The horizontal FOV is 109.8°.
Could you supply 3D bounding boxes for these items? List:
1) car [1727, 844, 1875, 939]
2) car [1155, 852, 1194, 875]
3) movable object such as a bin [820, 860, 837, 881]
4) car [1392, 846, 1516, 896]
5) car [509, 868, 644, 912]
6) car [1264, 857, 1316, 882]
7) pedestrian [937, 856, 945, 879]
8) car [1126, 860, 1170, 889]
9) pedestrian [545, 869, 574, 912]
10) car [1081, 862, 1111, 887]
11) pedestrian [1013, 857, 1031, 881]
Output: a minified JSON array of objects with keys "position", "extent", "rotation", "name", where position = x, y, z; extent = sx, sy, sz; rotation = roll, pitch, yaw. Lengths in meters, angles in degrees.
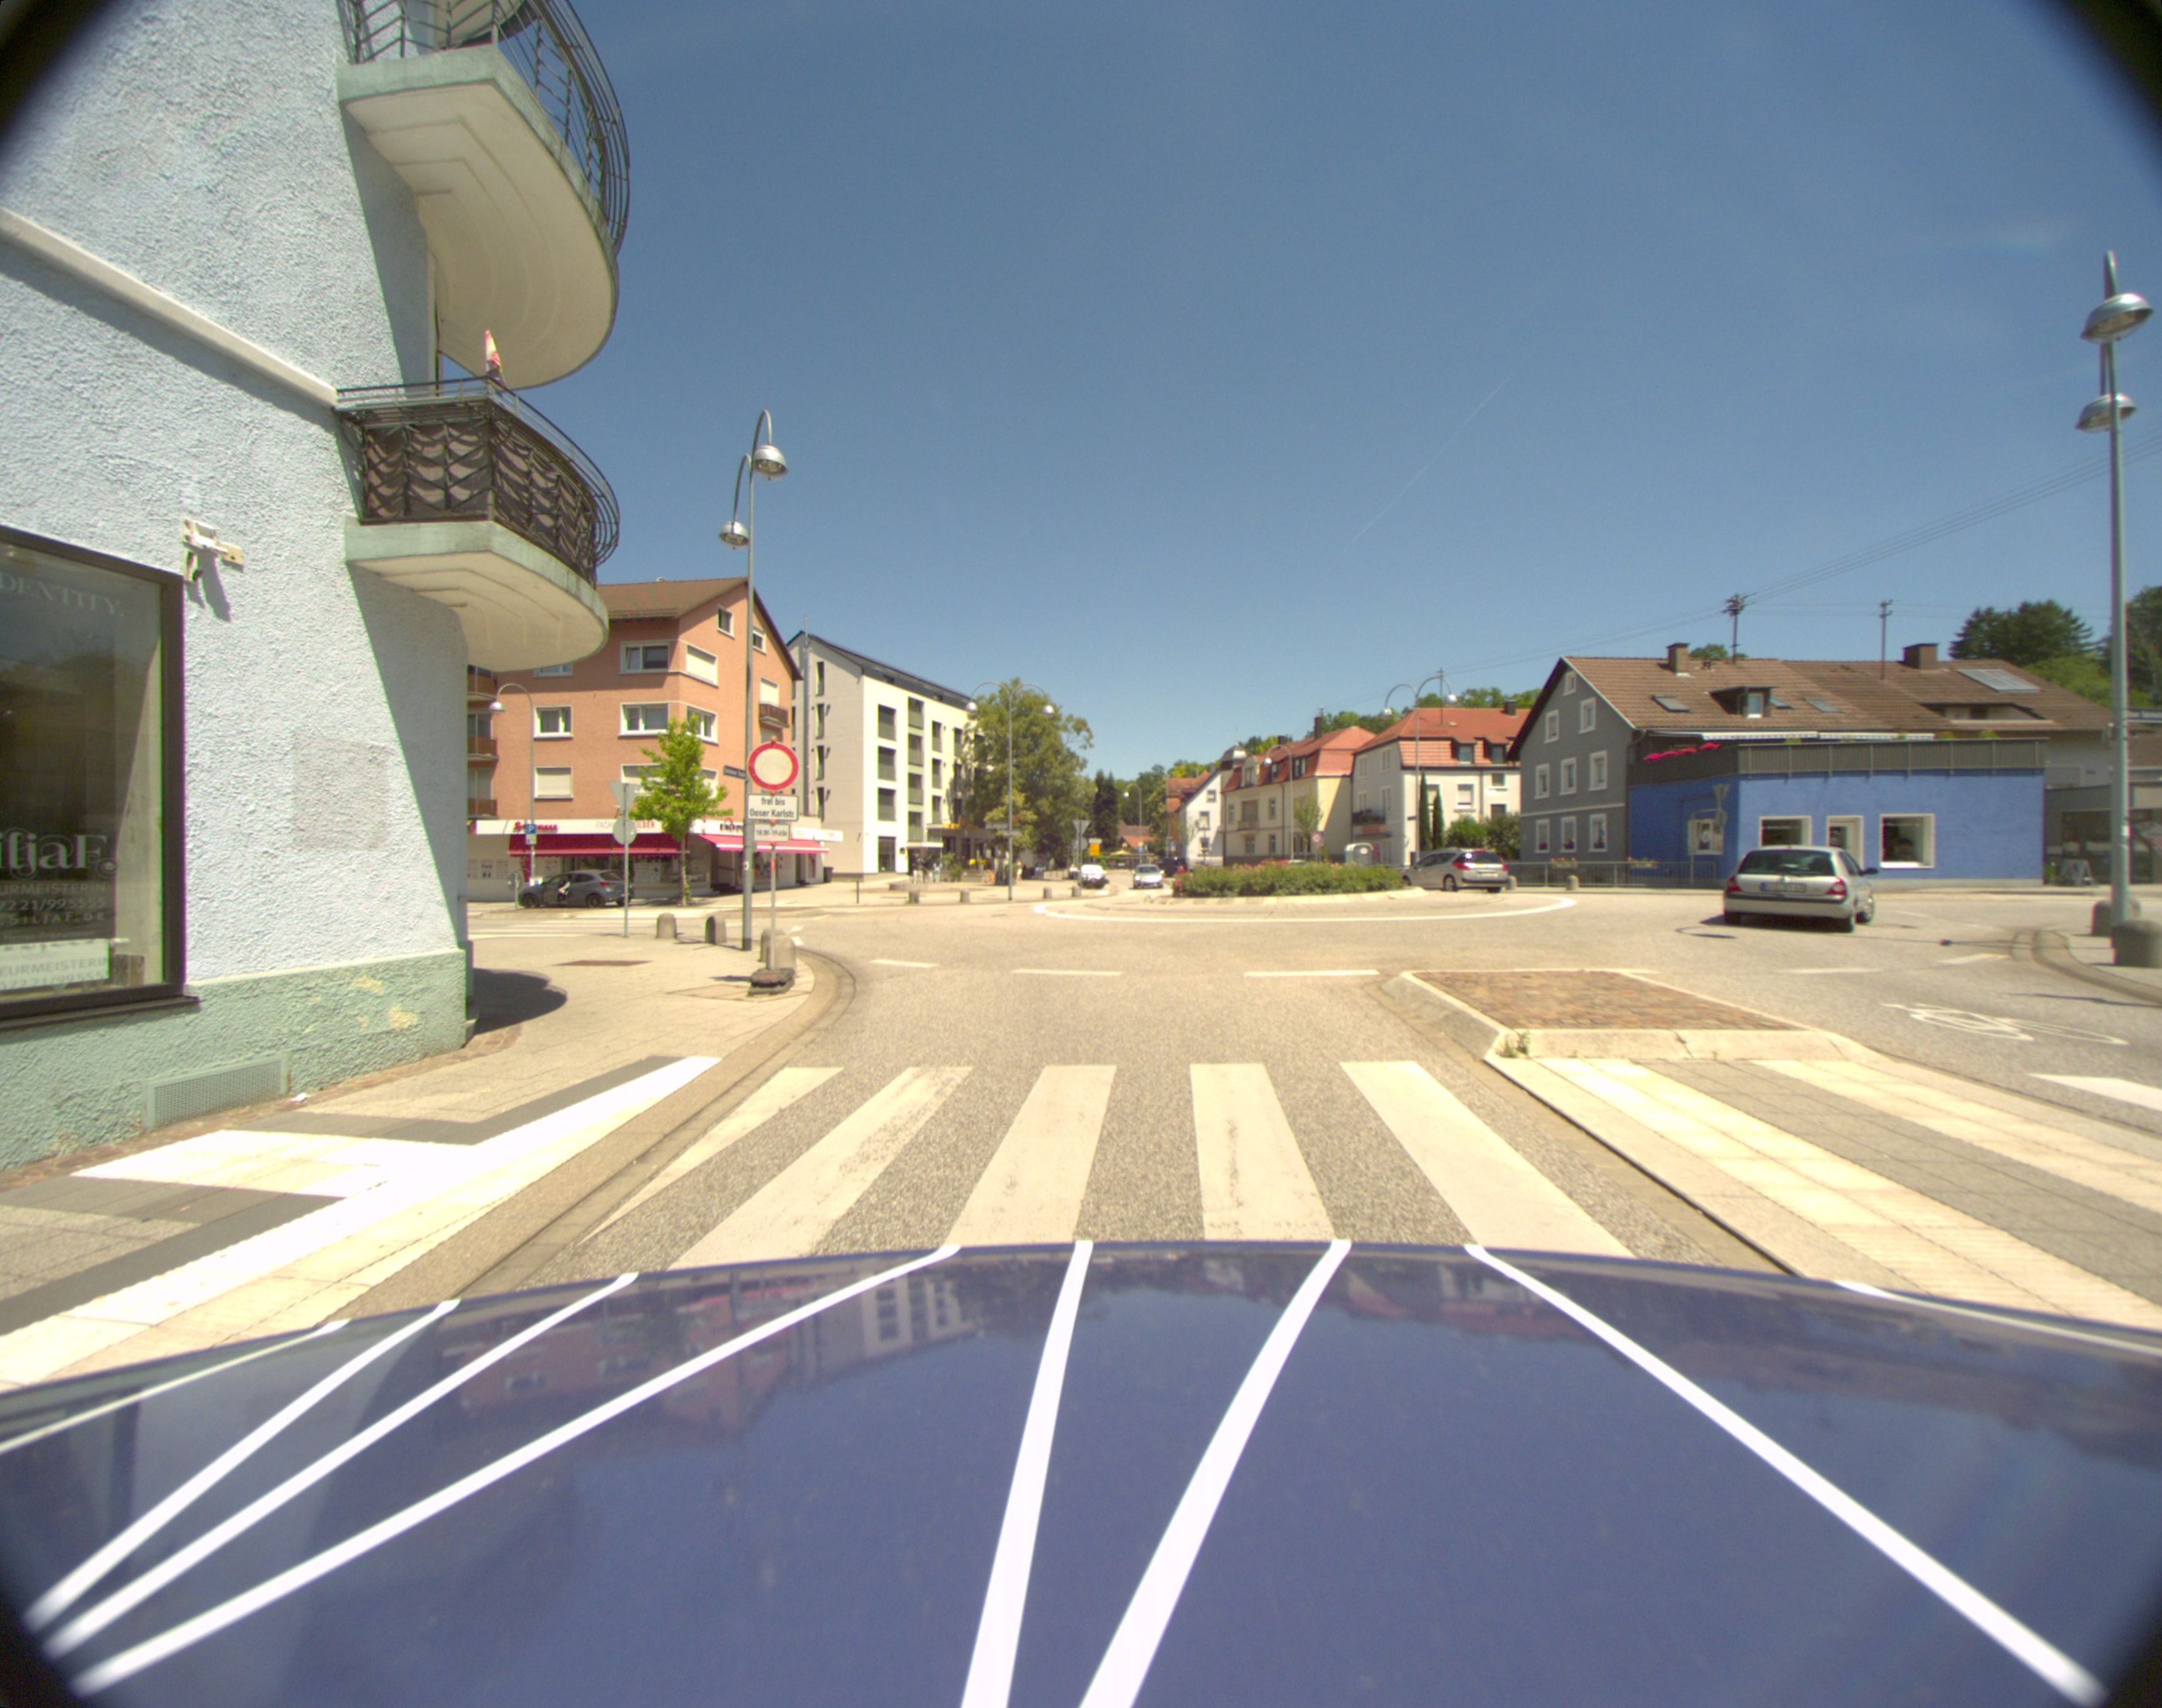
[{"position":[12.899,0.558,13.552],"extent":[3.726,1.405,1.545],"rotation":[-1,3,-42],"name":"car"},{"position":[8.645,0.832,70.645],"extent":[2.002,2.002,3.992],"rotation":[-1,2,-19],"name":"car"},{"position":[-15.898,1.039,47.859],"extent":[0.746,1.245,0.838],"rotation":[-1,0,9],"name":"movable object such as a bin"},{"position":[12.334,0.579,25.438],"extent":[1.745,1.507,4.207],"rotation":[-1,-2,-6],"name":"car"},{"position":[-19.368,1.368,29.261],"extent":[4.056,1.478,1.672],"rotation":[-1,3,4],"name":"car"},{"position":[13.322,0.960,48.653],"extent":[1.609,1.384,4.075],"rotation":[-4,0,-9],"name":"car"},{"position":[-9.850,0.941,53.411],"extent":[0.449,1.609,0.451],"rotation":[-1,0,5],"name":"pedestrian"},{"position":[4.059,1.215,46.607],"extent":[1.999,1.646,4.202],"rotation":[-1,0,-5],"name":"car"},{"position":[-19.513,1.356,28.443],"extent":[0.558,1.600,0.735],"rotation":[-1,0,4],"name":"pedestrian"},{"position":[0.922,1.281,48.562],"extent":[1.795,1.515,4.000],"rotation":[-1,0,0],"name":"car"},{"position":[-4.145,1.021,53.081],"extent":[0.816,1.639,0.953],"rotation":[-1,0,37],"name":"pedestrian"}]
